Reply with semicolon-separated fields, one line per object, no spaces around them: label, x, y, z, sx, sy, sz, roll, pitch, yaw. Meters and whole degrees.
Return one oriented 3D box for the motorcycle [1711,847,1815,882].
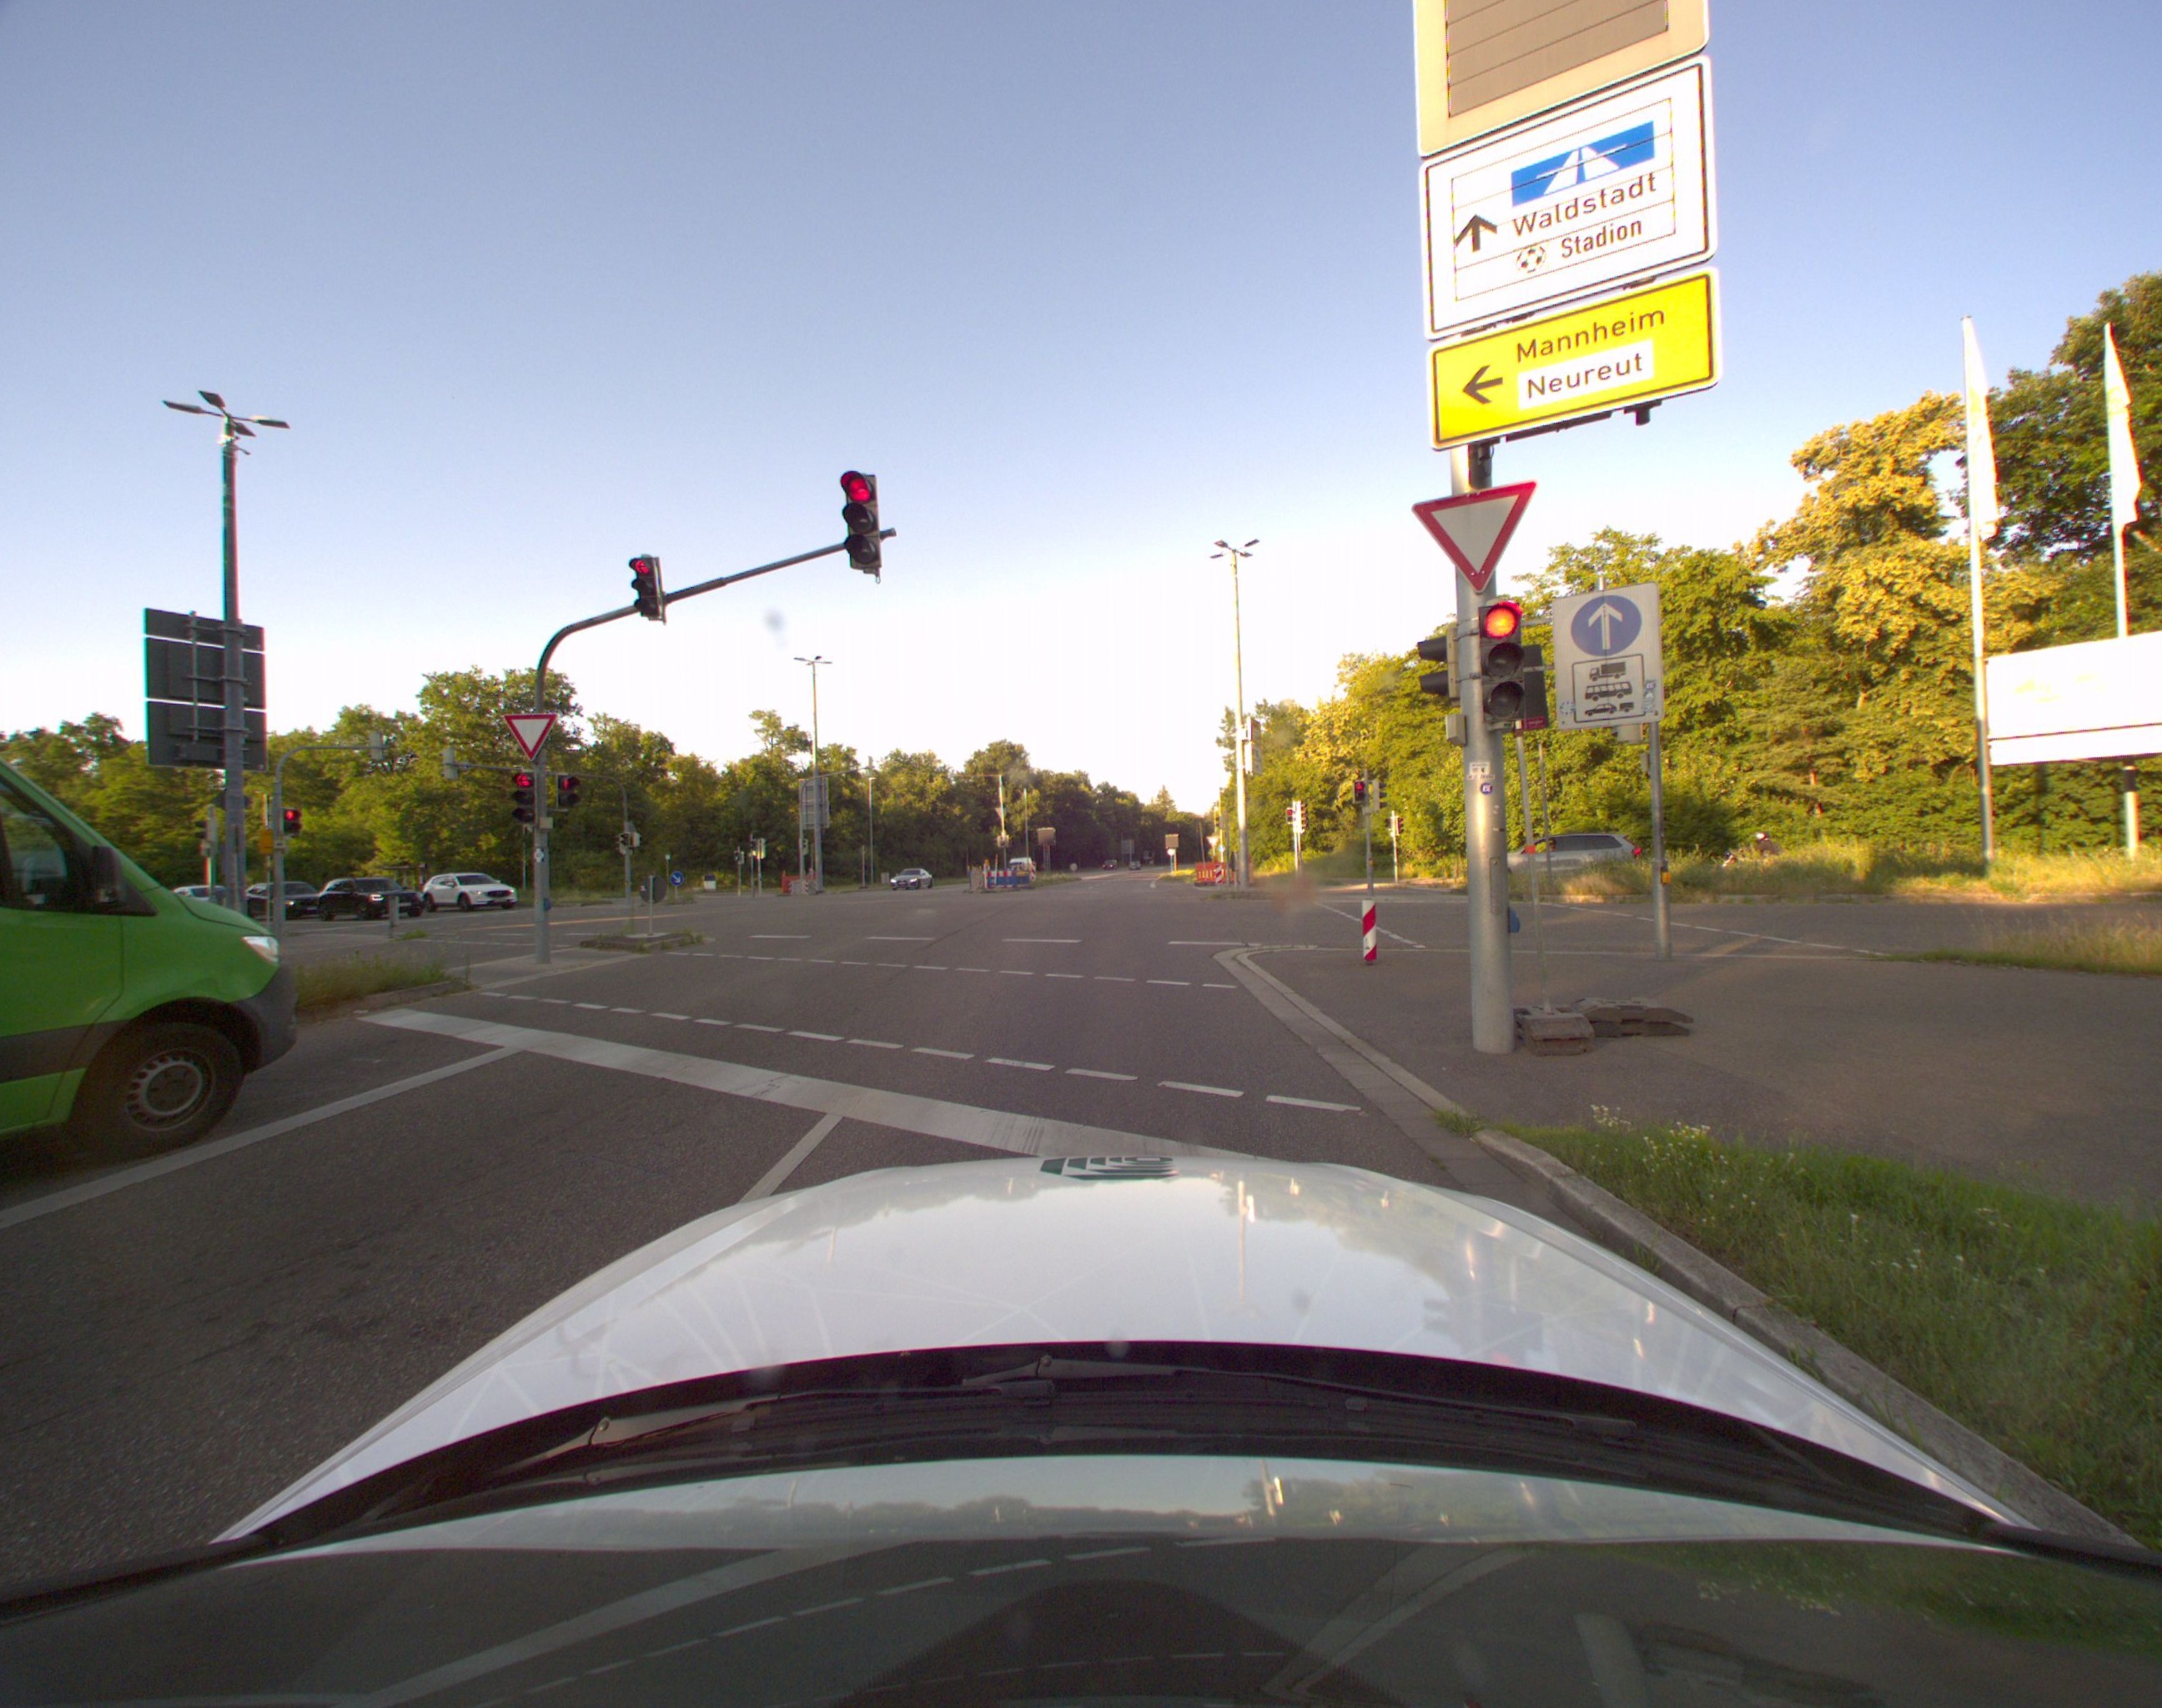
motorcycle;19.228;0.297;23.024;2.125;0.910;0.666;-2;0;23

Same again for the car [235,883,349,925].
car;-33.929;2.150;35.025;4.205;1.640;2.011;-2;0;23

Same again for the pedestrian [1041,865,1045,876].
pedestrian;-6.607;2.851;141.752;0.519;2.014;0.600;0;-1;2

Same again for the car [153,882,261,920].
car;-41.262;2.206;38.466;4.207;1.640;2.011;-2;0;21

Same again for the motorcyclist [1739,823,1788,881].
motorcyclist;19.261;-0.046;23.003;0.878;1.595;0.658;-2;-1;23

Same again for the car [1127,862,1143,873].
car;9.578;2.359;144.843;1.979;1.640;4.016;-3;0;14

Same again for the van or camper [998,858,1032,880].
van or camper;-8.408;1.861;104.606;2.869;2.652;7.137;-2;0;8

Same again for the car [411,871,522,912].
car;-26.764;1.637;35.490;4.206;1.640;2.011;-2;0;23

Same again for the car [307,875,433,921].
car;-27.558;1.694;31.550;4.206;1.640;2.011;-2;0;23

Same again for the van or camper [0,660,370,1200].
van or camper;-5.861;0.360;2.553;1.987;2.421;5.896;-2;0;1

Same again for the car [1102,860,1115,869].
car;5.498;2.158;163.665;1.981;1.640;4.011;-2;0;10

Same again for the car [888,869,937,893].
car;-11.380;1.775;55.174;1.881;1.441;4.508;-2;0;7

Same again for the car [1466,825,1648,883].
car;15.026;0.022;26.071;4.773;1.598;2.011;-2;0;23
